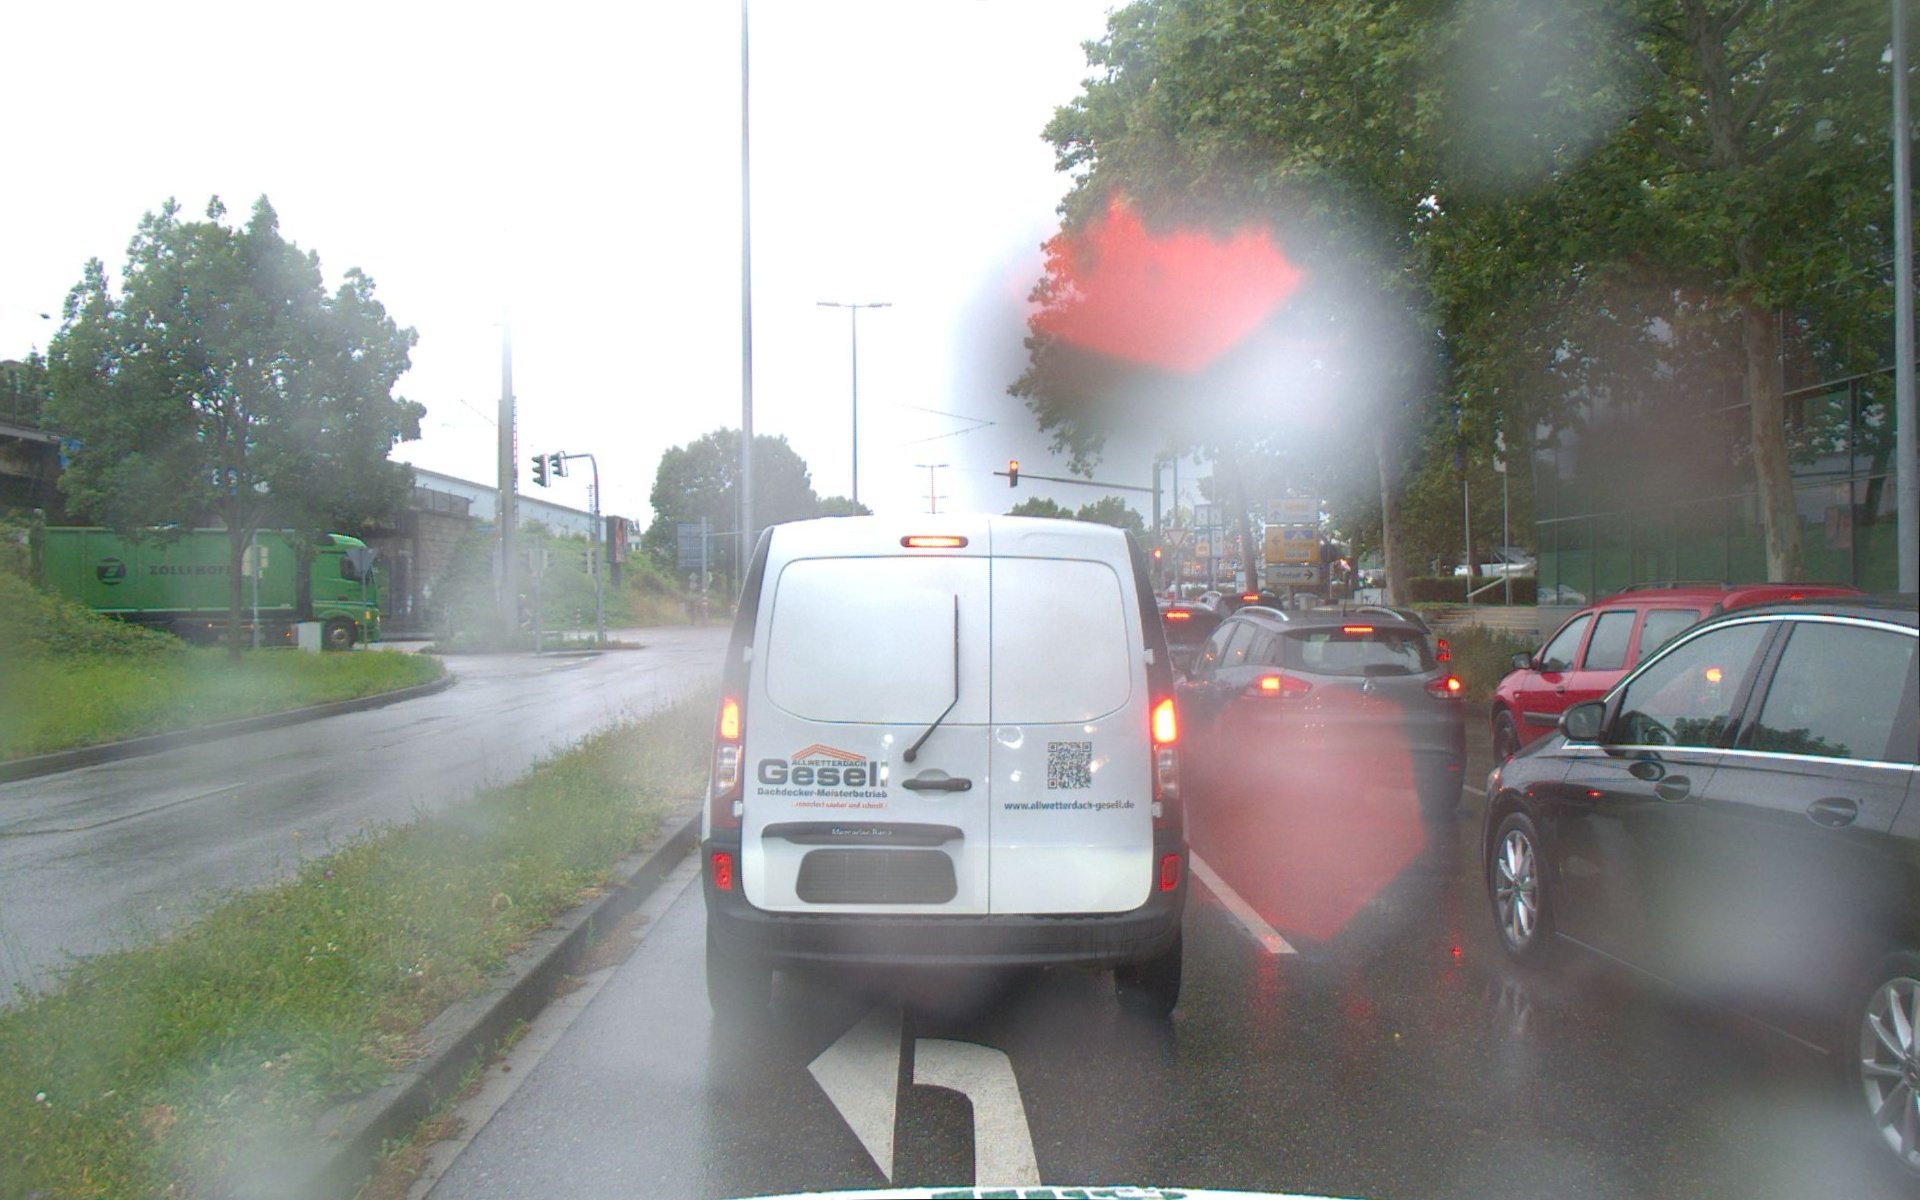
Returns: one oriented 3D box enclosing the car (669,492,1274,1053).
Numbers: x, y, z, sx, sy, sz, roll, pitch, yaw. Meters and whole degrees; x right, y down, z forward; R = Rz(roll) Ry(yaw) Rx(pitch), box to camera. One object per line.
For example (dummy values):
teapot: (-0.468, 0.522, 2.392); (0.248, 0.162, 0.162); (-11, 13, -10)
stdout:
car: (0.008, 0.537, 7.634); (1.953, 1.807, 4.584); (0, 0, -1)

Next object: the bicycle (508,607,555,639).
bicycle: (-14.356, 0.757, 55.335); (1.027, 0.968, 2.866); (-1, 1, -25)

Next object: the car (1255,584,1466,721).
car: (5.357, 0.637, 22.640); (1.838, 1.641, 3.999); (2, 1, -1)

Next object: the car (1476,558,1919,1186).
car: (3.241, 0.686, 5.439); (1.712, 1.582, 4.089); (0, 0, -2)

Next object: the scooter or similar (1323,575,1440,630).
scooter or similar: (19.665, 0.104, 77.352); (1.878, 2.489, 5.239); (0, 0, -41)

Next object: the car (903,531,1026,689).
car: (0.035, 0.133, 26.401); (1.816, 2.336, 3.842); (0, 0, -1)

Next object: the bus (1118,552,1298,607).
bus: (16.591, -1.390, 111.144); (11.727, 3.483, 2.315); (-1, 1, -1)

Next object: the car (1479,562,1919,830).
car: (5.617, 0.646, 12.883); (1.676, 1.724, 4.270); (1, -1, -2)

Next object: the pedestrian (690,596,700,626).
pedestrian: (-15.362, 0.621, 95.852); (0.532, 1.746, 0.563); (1, -1, -5)

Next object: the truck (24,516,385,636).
truck: (-23.199, -0.728, 51.274); (9.956, 3.430, 2.316); (0, 0, -37)

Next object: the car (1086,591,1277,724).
car: (2.656, 0.641, 20.655); (1.816, 1.486, 3.842); (0, 0, -1)

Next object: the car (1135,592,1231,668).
car: (5.166, 0.680, 38.693); (1.674, 1.678, 3.842); (1, 0, -1)

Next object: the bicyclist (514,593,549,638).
bicyclist: (-14.337, 0.508, 55.322); (1.028, 1.475, 0.723); (-1, 1, -26)

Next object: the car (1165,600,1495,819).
car: (2.746, 0.747, 13.126); (1.649, 1.433, 3.842); (1, 0, -2)

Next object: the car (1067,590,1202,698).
car: (2.868, 0.678, 27.885); (1.816, 1.678, 3.842); (0, 0, -1)

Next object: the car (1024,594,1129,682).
car: (2.303, 0.730, 33.539); (1.816, 1.678, 3.842); (0, 0, -1)
